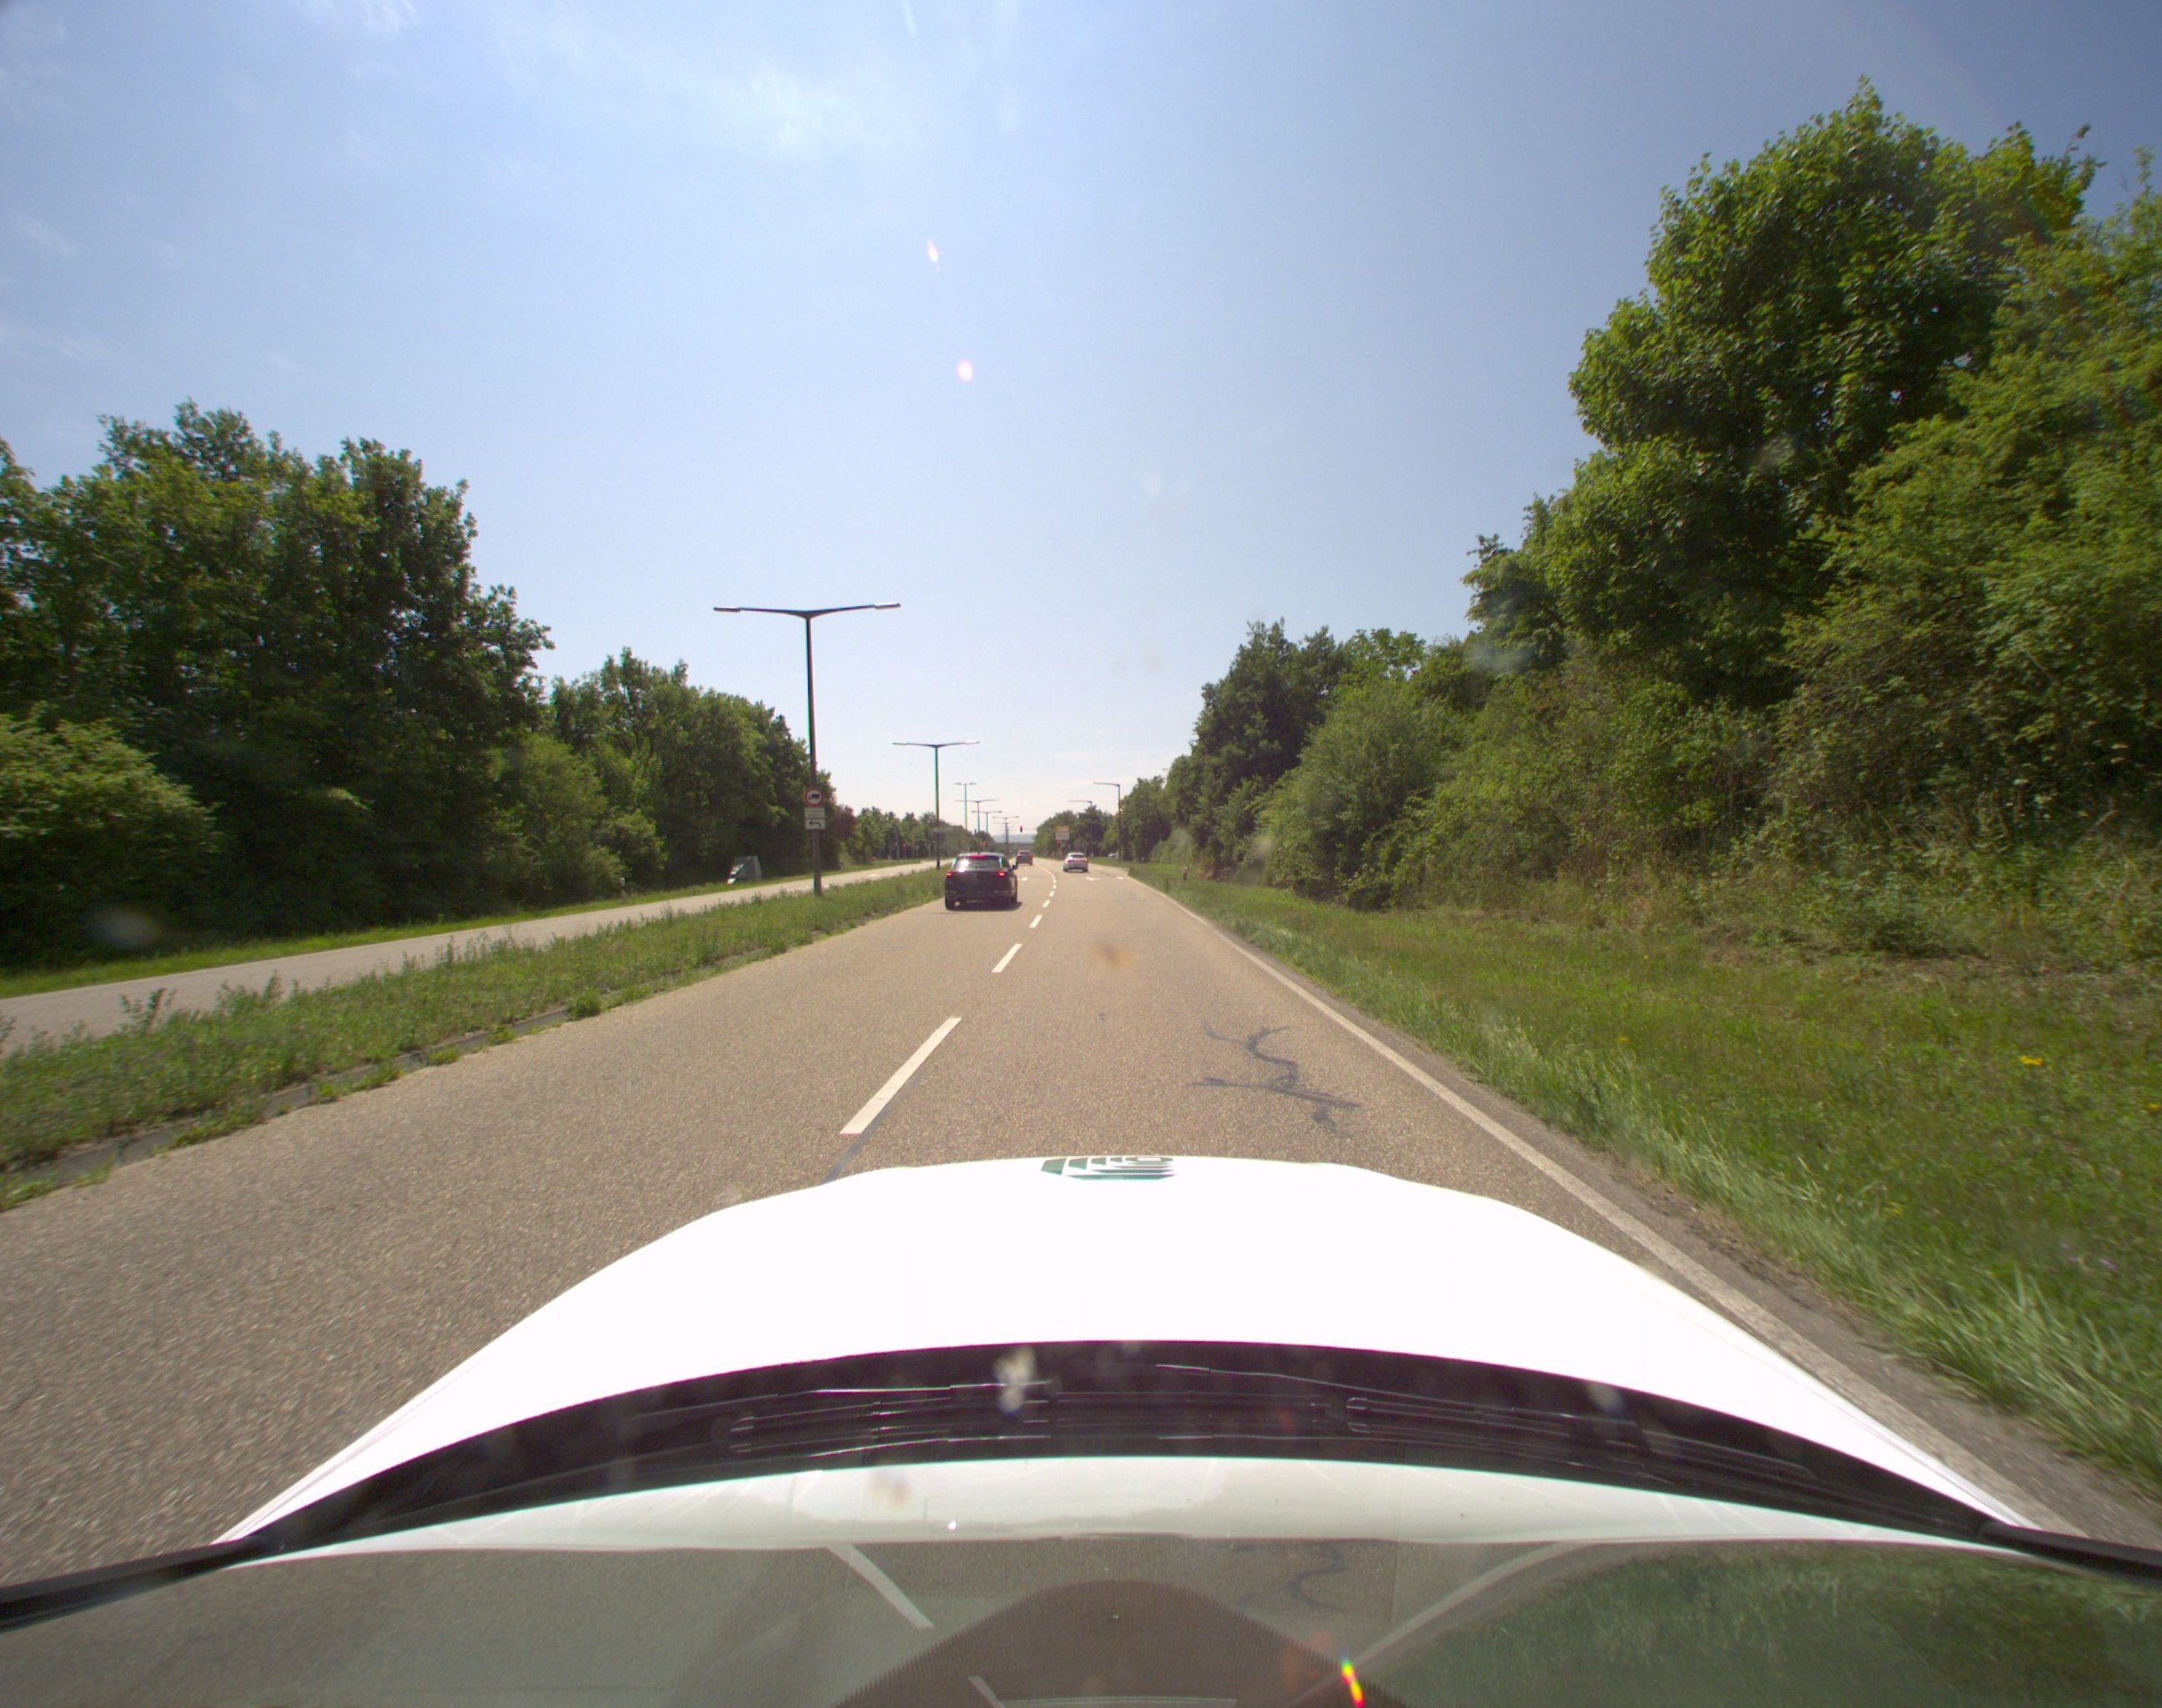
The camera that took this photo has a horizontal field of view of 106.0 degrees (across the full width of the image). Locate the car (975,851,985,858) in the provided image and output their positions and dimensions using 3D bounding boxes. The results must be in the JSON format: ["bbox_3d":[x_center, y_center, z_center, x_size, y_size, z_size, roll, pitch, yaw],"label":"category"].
[{"bbox_3d":[-22.810,0.134,183.394,1.823,1.519,3.997,0,0,-2],"label":"car"}]

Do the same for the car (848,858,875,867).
[{"bbox_3d":[-40.162,1.556,149.152,4.527,1.641,1.969,0,0,-13],"label":"car"}]

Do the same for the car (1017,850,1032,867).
[{"bbox_3d":[-6.583,0.547,94.897,1.752,1.929,3.994,-1,0,-4],"label":"car"}]

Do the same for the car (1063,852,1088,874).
[{"bbox_3d":[-0.425,0.700,62.332,1.792,1.583,3.997,-1,0,-2],"label":"car"}]

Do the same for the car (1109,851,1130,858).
[{"bbox_3d":[8.159,0.061,172.836,4.105,1.525,1.930,-1,0,-13],"label":"car"}]

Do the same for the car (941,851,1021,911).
[{"bbox_3d":[-2.795,0.725,23.565,1.749,1.556,4.000,-1,0,1],"label":"car"}]
